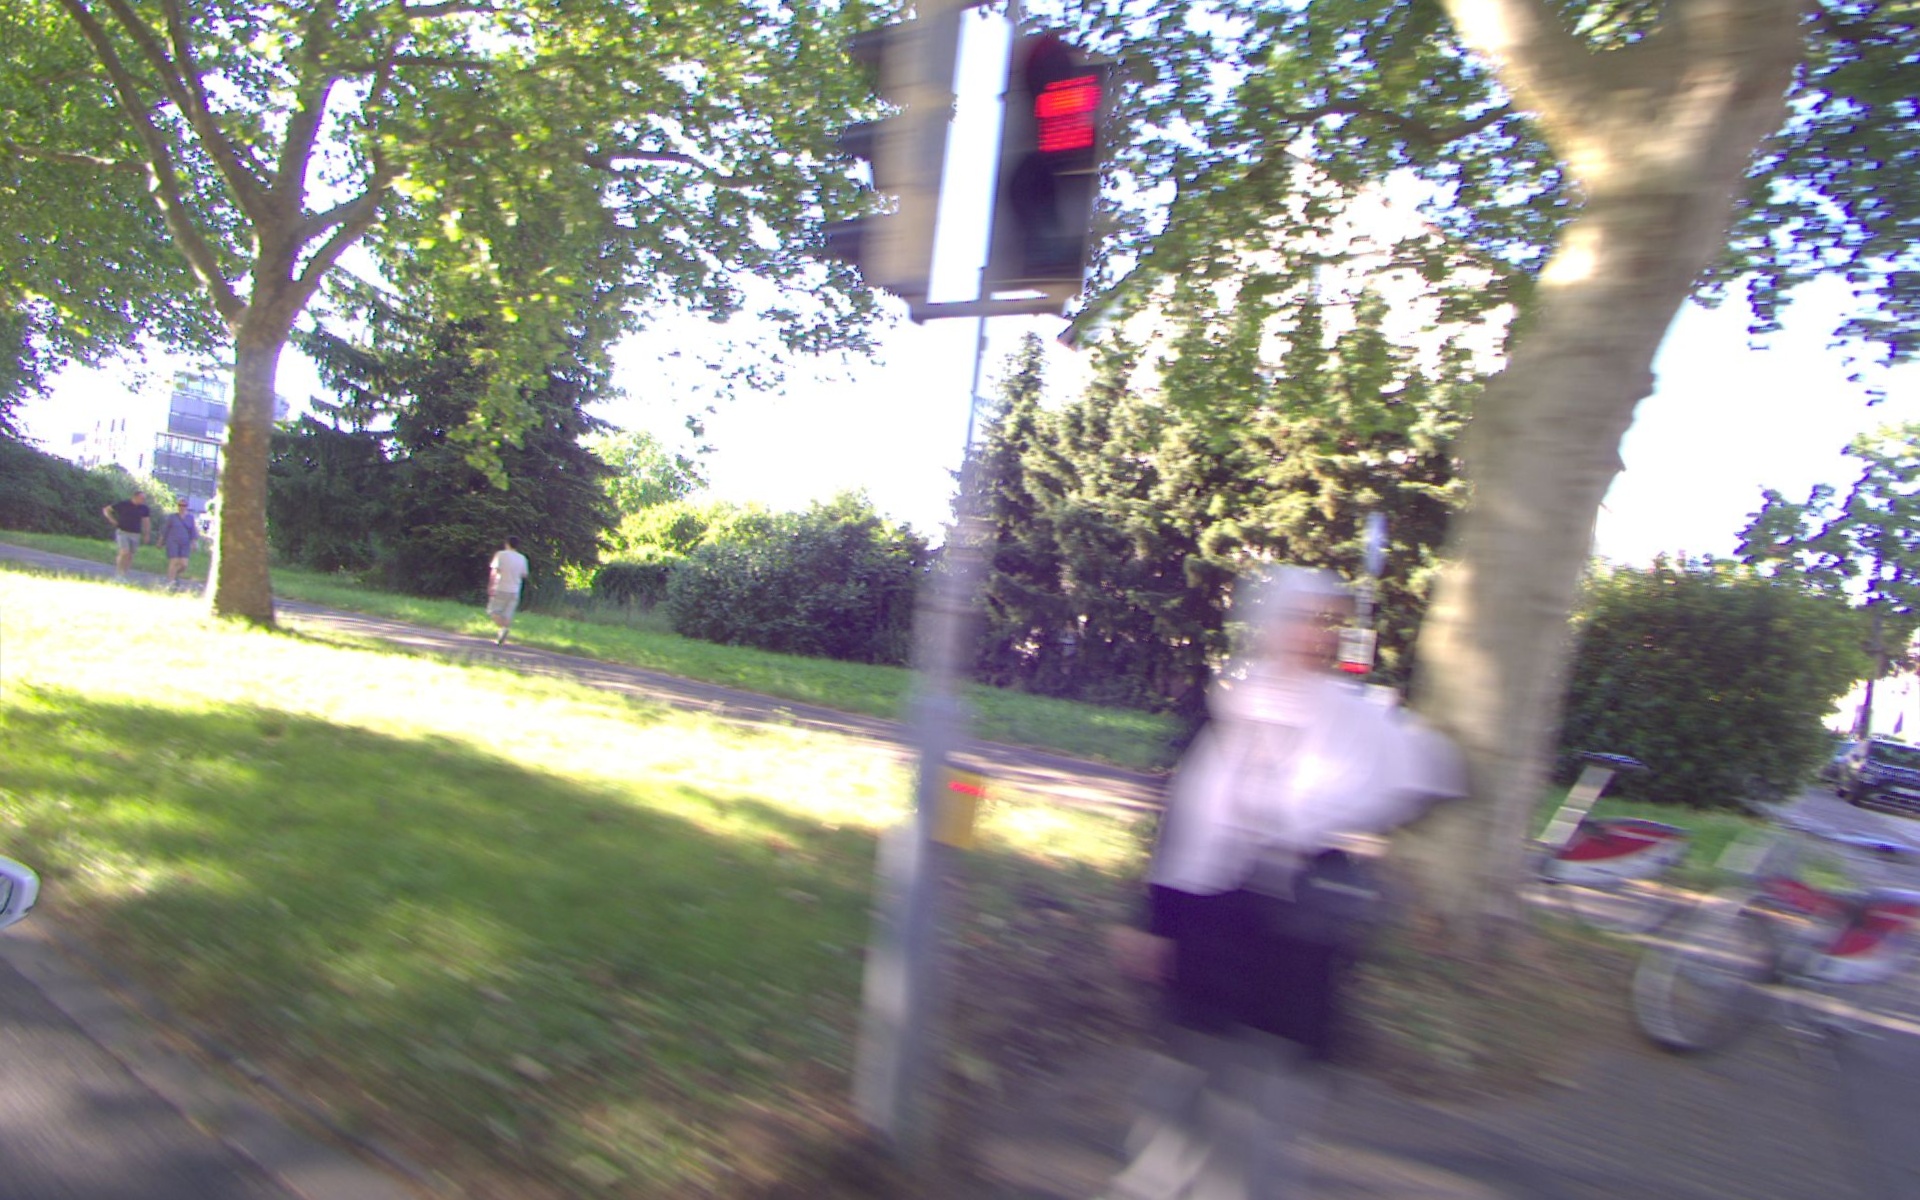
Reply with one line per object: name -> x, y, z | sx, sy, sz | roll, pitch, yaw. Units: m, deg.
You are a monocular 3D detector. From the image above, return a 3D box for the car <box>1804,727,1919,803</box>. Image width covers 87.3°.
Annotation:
car -> 26.404, 4.777, 29.585 | 1.838, 1.614, 3.750 | 10, 1, 35

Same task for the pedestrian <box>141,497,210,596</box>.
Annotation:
pedestrian -> -15.831, -1.070, 20.297 | 0.790, 1.870, 0.755 | 7, 0, 36

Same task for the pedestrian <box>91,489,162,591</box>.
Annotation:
pedestrian -> -16.332, -1.163, 19.713 | 0.775, 1.868, 0.761 | 7, 0, 36

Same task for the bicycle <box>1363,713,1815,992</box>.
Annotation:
bicycle -> 3.393, 1.346, 5.584 | 1.969, 1.097, 0.446 | 8, 2, 12

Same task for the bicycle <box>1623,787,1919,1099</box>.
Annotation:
bicycle -> 3.608, 1.387, 4.183 | 1.697, 1.048, 0.444 | 7, 2, -23

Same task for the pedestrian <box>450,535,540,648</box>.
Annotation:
pedestrian -> -7.440, -0.131, 16.100 | 0.923, 1.670, 0.780 | 7, 0, 32

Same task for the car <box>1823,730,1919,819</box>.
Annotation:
car -> 21.612, 4.039, 23.286 | 1.838, 1.614, 3.750 | 10, 1, 35

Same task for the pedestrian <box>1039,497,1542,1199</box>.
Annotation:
pedestrian -> 0.741, 0.697, 2.330 | 0.811, 1.742, 0.635 | 7, 2, 24
